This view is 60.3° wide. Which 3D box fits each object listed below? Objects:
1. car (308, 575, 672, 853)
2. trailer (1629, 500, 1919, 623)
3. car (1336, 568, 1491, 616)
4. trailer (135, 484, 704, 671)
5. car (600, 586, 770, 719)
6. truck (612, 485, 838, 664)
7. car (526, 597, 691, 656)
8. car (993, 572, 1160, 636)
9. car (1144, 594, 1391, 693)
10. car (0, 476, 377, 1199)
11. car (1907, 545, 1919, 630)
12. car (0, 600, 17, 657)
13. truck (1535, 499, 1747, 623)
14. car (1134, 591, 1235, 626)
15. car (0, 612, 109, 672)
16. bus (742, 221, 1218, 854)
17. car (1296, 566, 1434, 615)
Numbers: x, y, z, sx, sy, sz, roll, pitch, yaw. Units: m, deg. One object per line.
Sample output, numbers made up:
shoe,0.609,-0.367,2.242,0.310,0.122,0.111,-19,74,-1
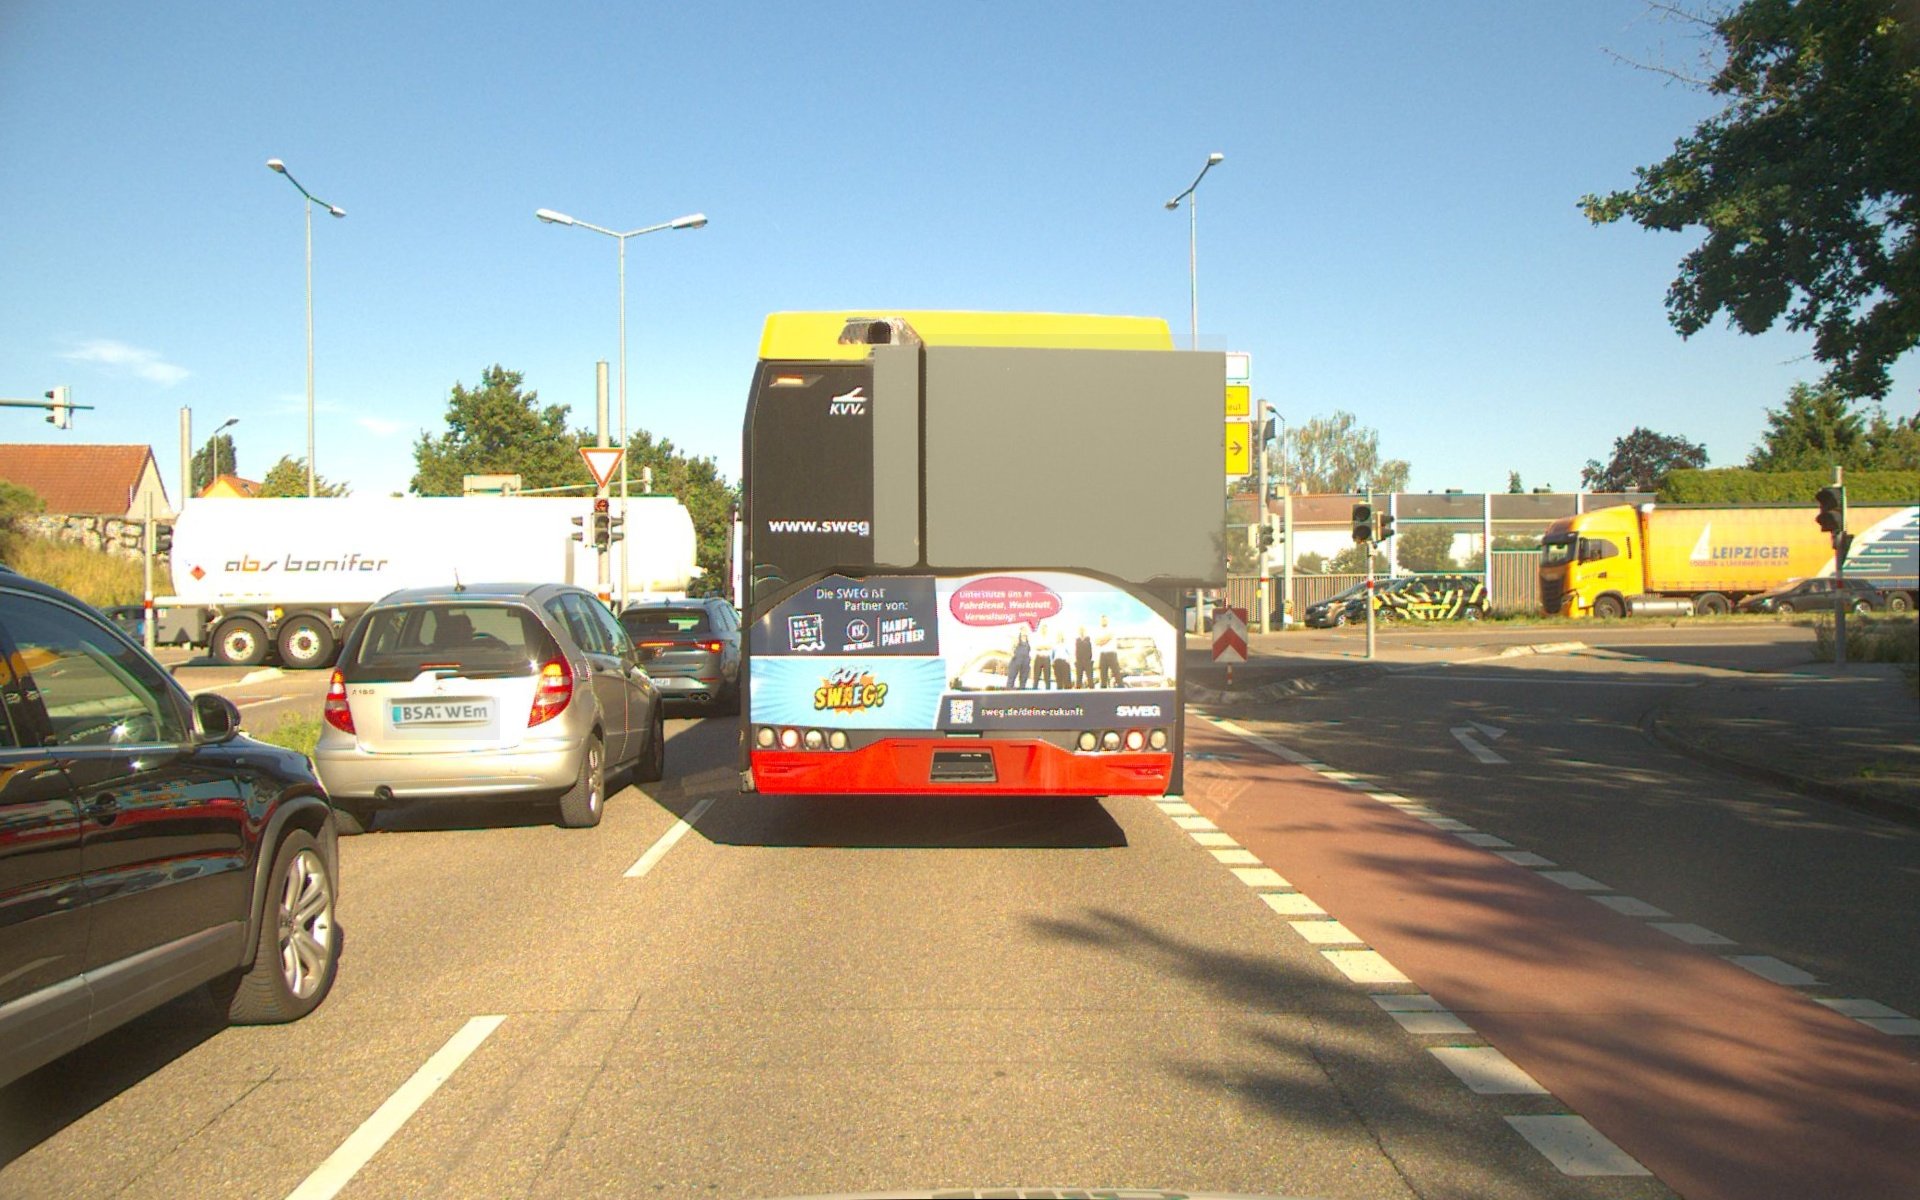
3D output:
car,-3.217,0.662,12.131,1.719,1.648,4.031,-1,1,-4
trailer,29.573,-1.342,57.029,12.492,4.100,2.466,0,0,-8
car,13.125,-0.208,47.963,4.078,1.325,1.573,1,-1,-4
trailer,-11.186,-0.505,35.347,11.263,3.761,2.390,0,0,-9
car,-3.389,0.622,20.953,1.556,1.512,3.682,-1,-1,0
truck,-5.055,-0.560,36.199,4.708,3.760,2.408,0,0,-6
car,-8.352,0.621,39.541,3.776,1.336,1.504,0,-1,-10
car,3.025,0.121,43.294,4.139,1.590,1.761,1,-1,-6
car,4.455,0.612,24.277,3.447,1.325,1.576,1,1,8
car,-3.156,0.594,4.450,1.784,1.703,4.001,-2,-1,-1
car,16.580,-0.166,25.891,3.355,1.318,1.448,1,-1,-26
car,-25.577,0.676,40.648,3.775,1.409,1.679,1,-1,-10
truck,23.069,-1.311,56.152,6.277,4.068,2.469,0,0,-8
car,8.463,0.312,62.389,3.513,1.287,1.352,0,0,27
car,-27.947,1.247,49.537,3.913,1.745,1.996,1,-1,-9
bus,0.022,-0.353,14.930,2.543,3.393,11.981,1,0,-1
car,12.654,-0.279,51.722,3.911,1.467,1.563,1,-1,-7
